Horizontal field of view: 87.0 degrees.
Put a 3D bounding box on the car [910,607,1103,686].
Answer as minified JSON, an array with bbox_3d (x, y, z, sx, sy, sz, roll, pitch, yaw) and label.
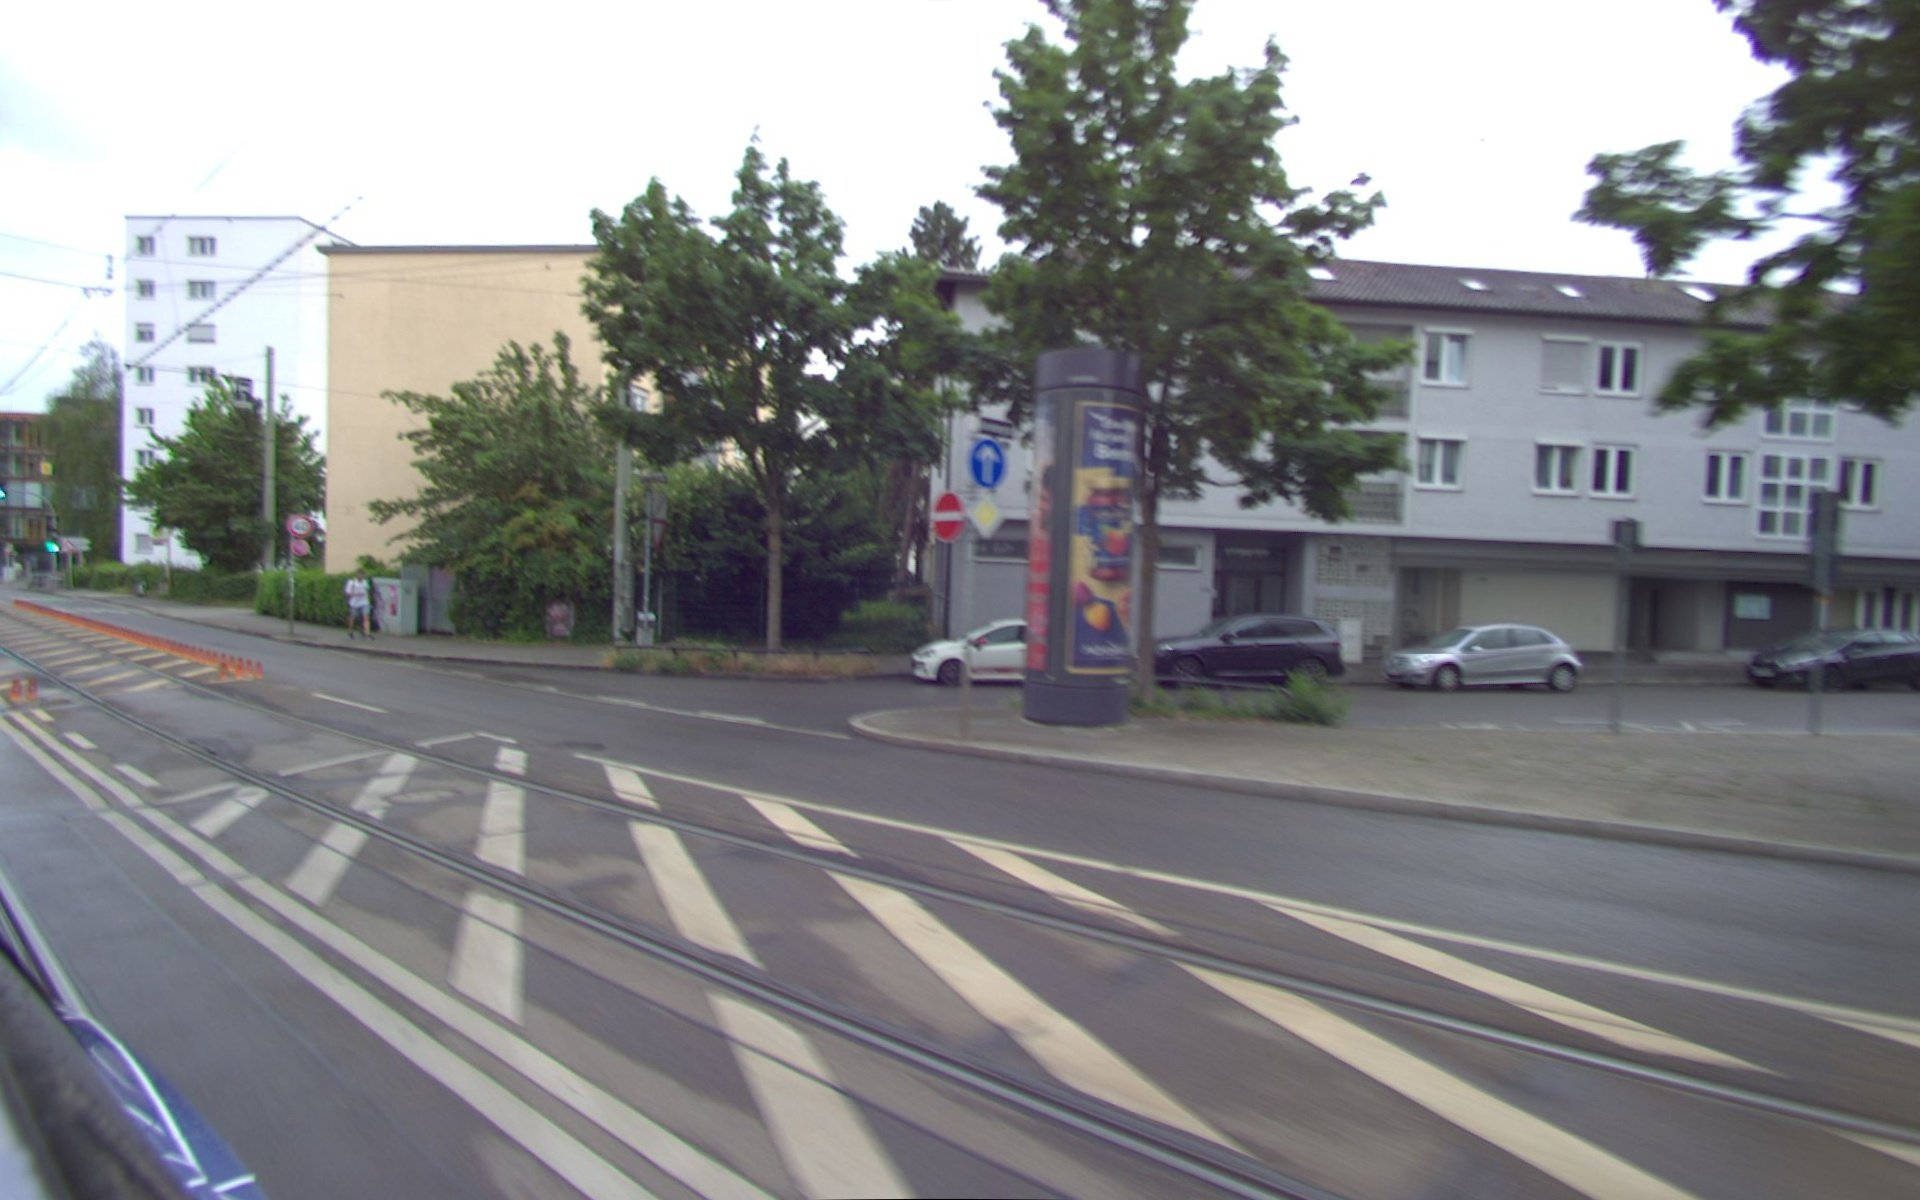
[{"bbox_3d":[0.954,1.014,22.672,4.099,1.492,2.002,1,3,-3],"label":"car"}]

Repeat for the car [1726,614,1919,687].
[{"bbox_3d":[20.789,1.174,23.830,4.137,1.505,1.845,1,2,-5],"label":"car"}]

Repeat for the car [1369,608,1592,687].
[{"bbox_3d":[11.819,1.062,23.159,4.109,1.590,1.845,1,2,-5],"label":"car"}]

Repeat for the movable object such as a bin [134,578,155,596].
[{"bbox_3d":[-42.206,-0.663,52.384,0.759,0.888,0.680,3,3,36],"label":"movable object such as a bin"}]

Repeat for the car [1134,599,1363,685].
[{"bbox_3d":[6.460,0.928,22.942,4.569,1.718,1.845,1,2,-5],"label":"car"}]

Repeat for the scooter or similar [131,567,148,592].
[{"bbox_3d":[-41.096,-1.057,50.685,0.565,1.193,1.602,-1,4,-43],"label":"scooter or similar"}]

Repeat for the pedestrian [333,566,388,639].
[{"bbox_3d":[-16.043,0.043,27.076,1.015,1.859,0.911,3,4,36],"label":"pedestrian"}]
